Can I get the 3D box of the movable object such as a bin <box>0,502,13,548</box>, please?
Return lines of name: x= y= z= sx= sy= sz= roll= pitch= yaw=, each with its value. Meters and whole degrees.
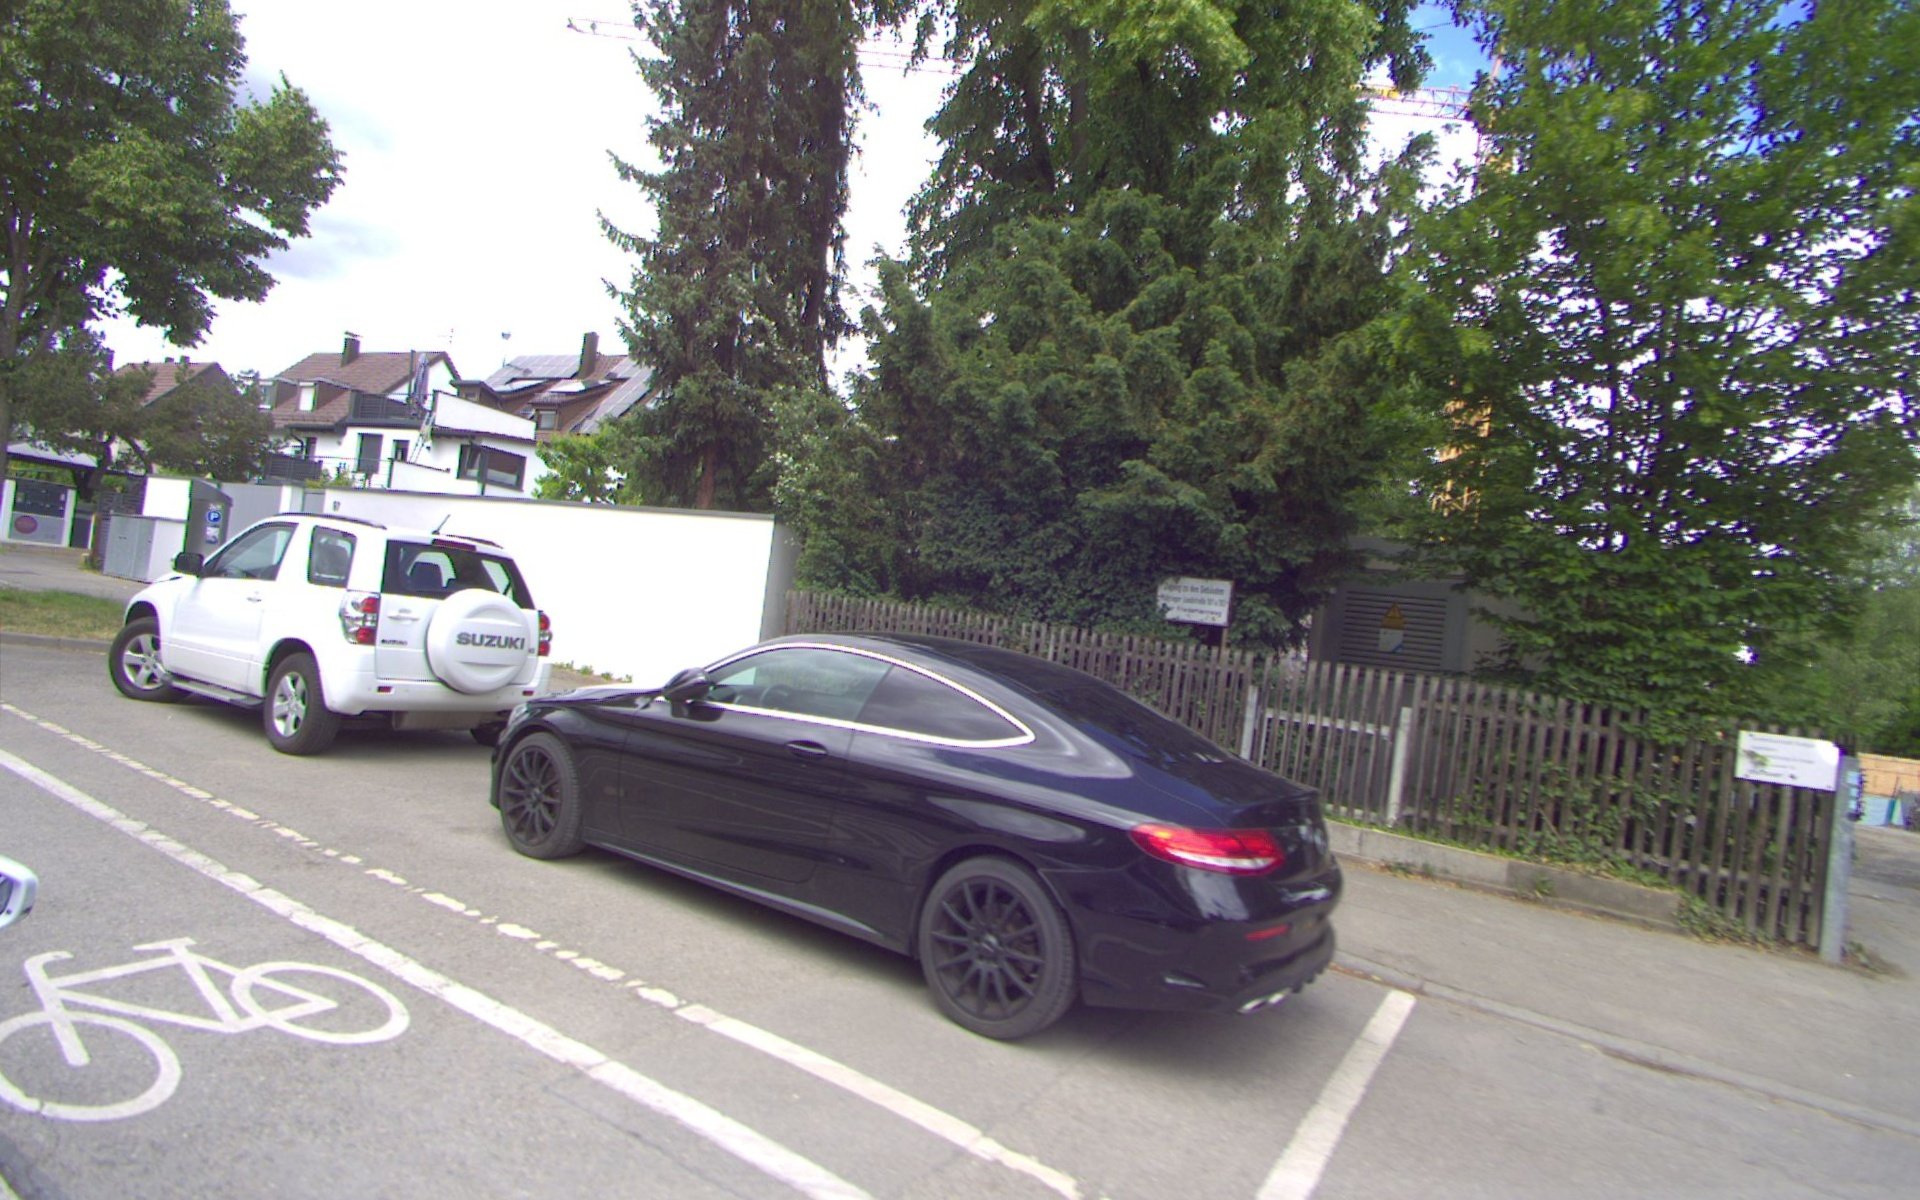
movable object such as a bin: x=-24.047 y=-1.885 z=25.081 sx=0.447 sy=1.123 sz=0.437 roll=7 pitch=0 yaw=32

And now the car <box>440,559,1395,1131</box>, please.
car: x=-0.438 y=0.800 z=5.148 sx=4.528 sy=1.433 sz=1.866 roll=7 pitch=-1 yaw=33

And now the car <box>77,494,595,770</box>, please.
car: x=-5.262 y=0.186 z=8.397 sx=4.048 sy=1.661 sz=1.904 roll=6 pitch=-2 yaw=31
